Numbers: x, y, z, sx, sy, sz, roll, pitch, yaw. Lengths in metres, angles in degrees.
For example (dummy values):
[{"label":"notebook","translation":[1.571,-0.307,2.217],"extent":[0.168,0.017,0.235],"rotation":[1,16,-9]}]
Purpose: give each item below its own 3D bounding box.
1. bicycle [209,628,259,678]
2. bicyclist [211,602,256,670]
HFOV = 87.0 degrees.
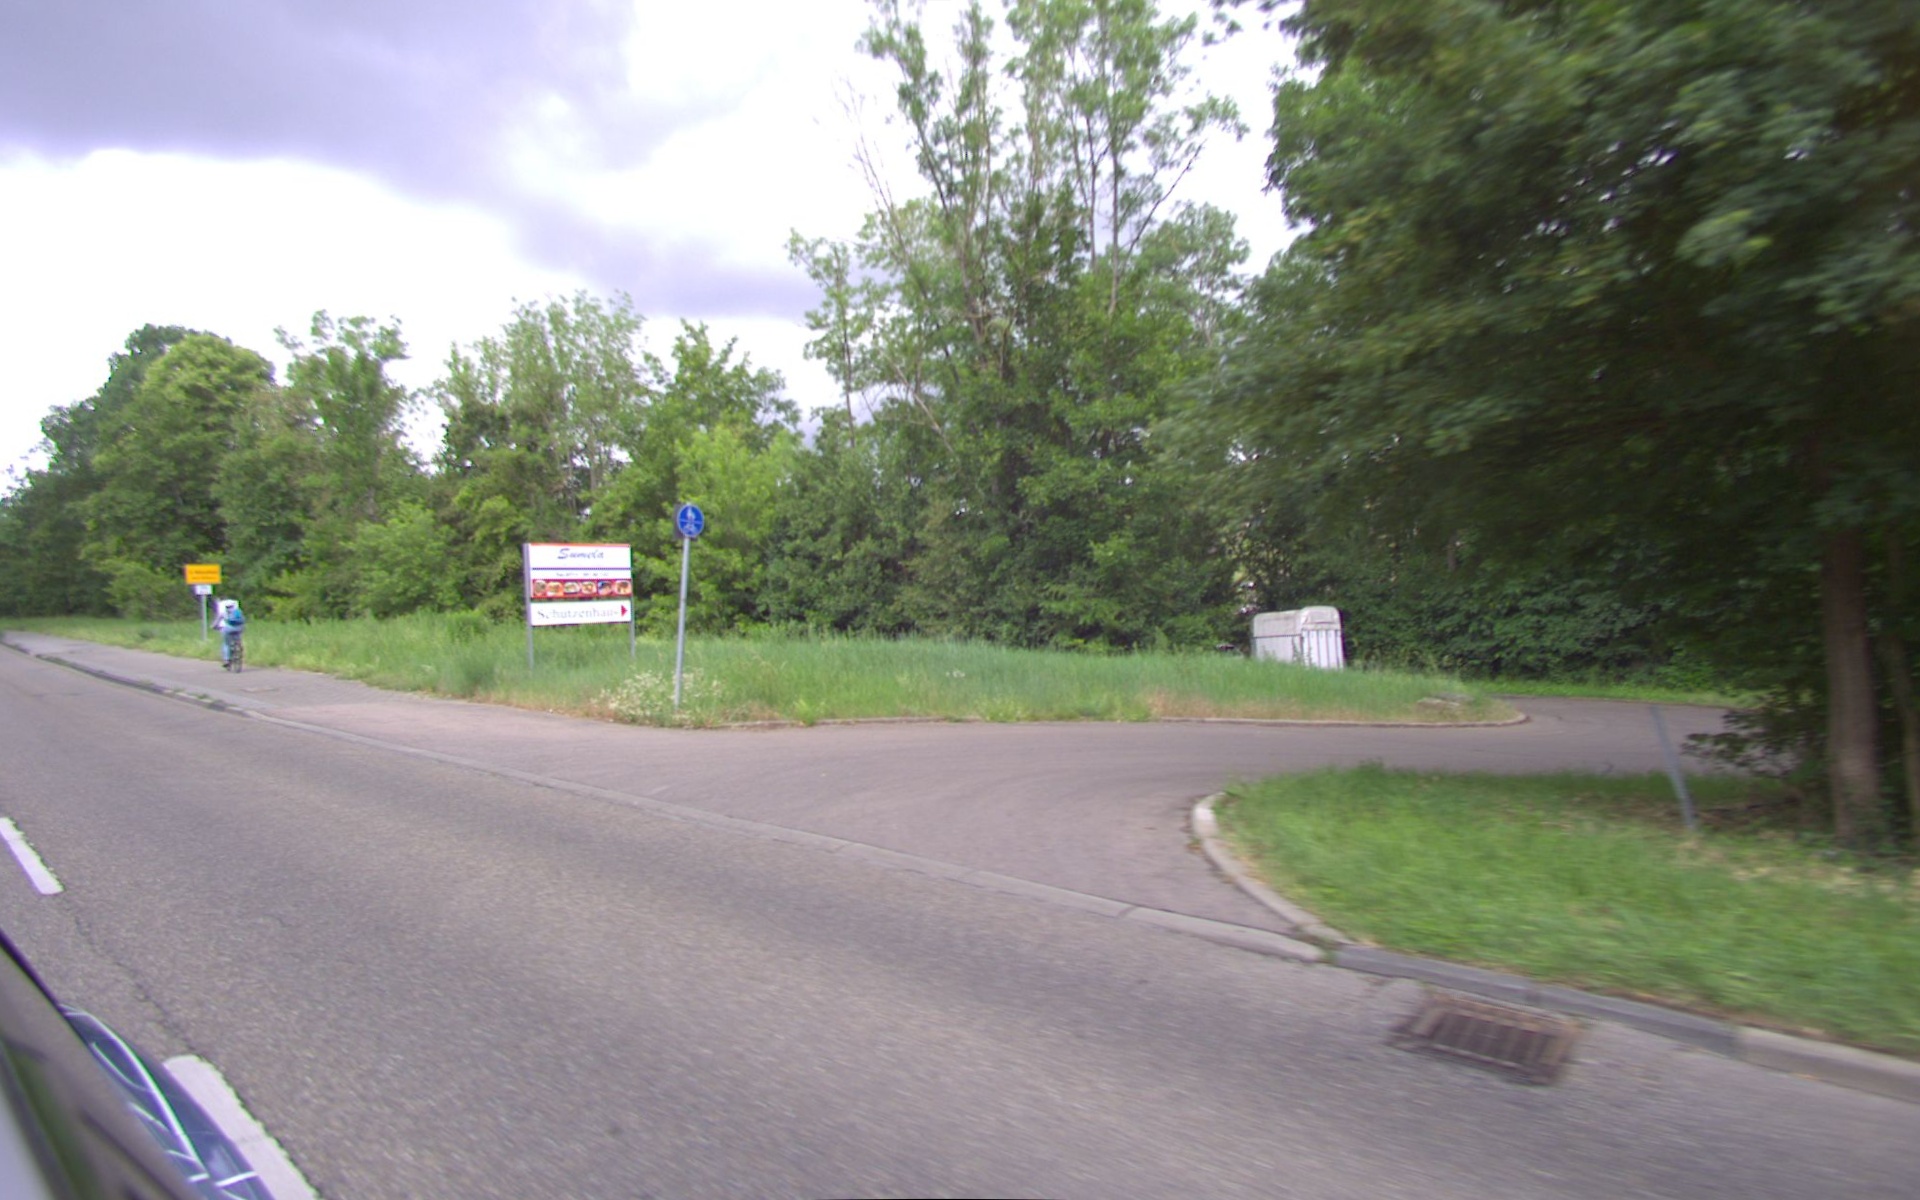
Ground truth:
[{"label":"bicycle","translation":[-16.952,1.214,23.614],"extent":[0.658,1.082,2.147],"rotation":[-1,-1,-44]},{"label":"bicyclist","translation":[-16.957,0.834,23.618],"extent":[0.658,1.531,1.272],"rotation":[-1,-1,-44]}]
